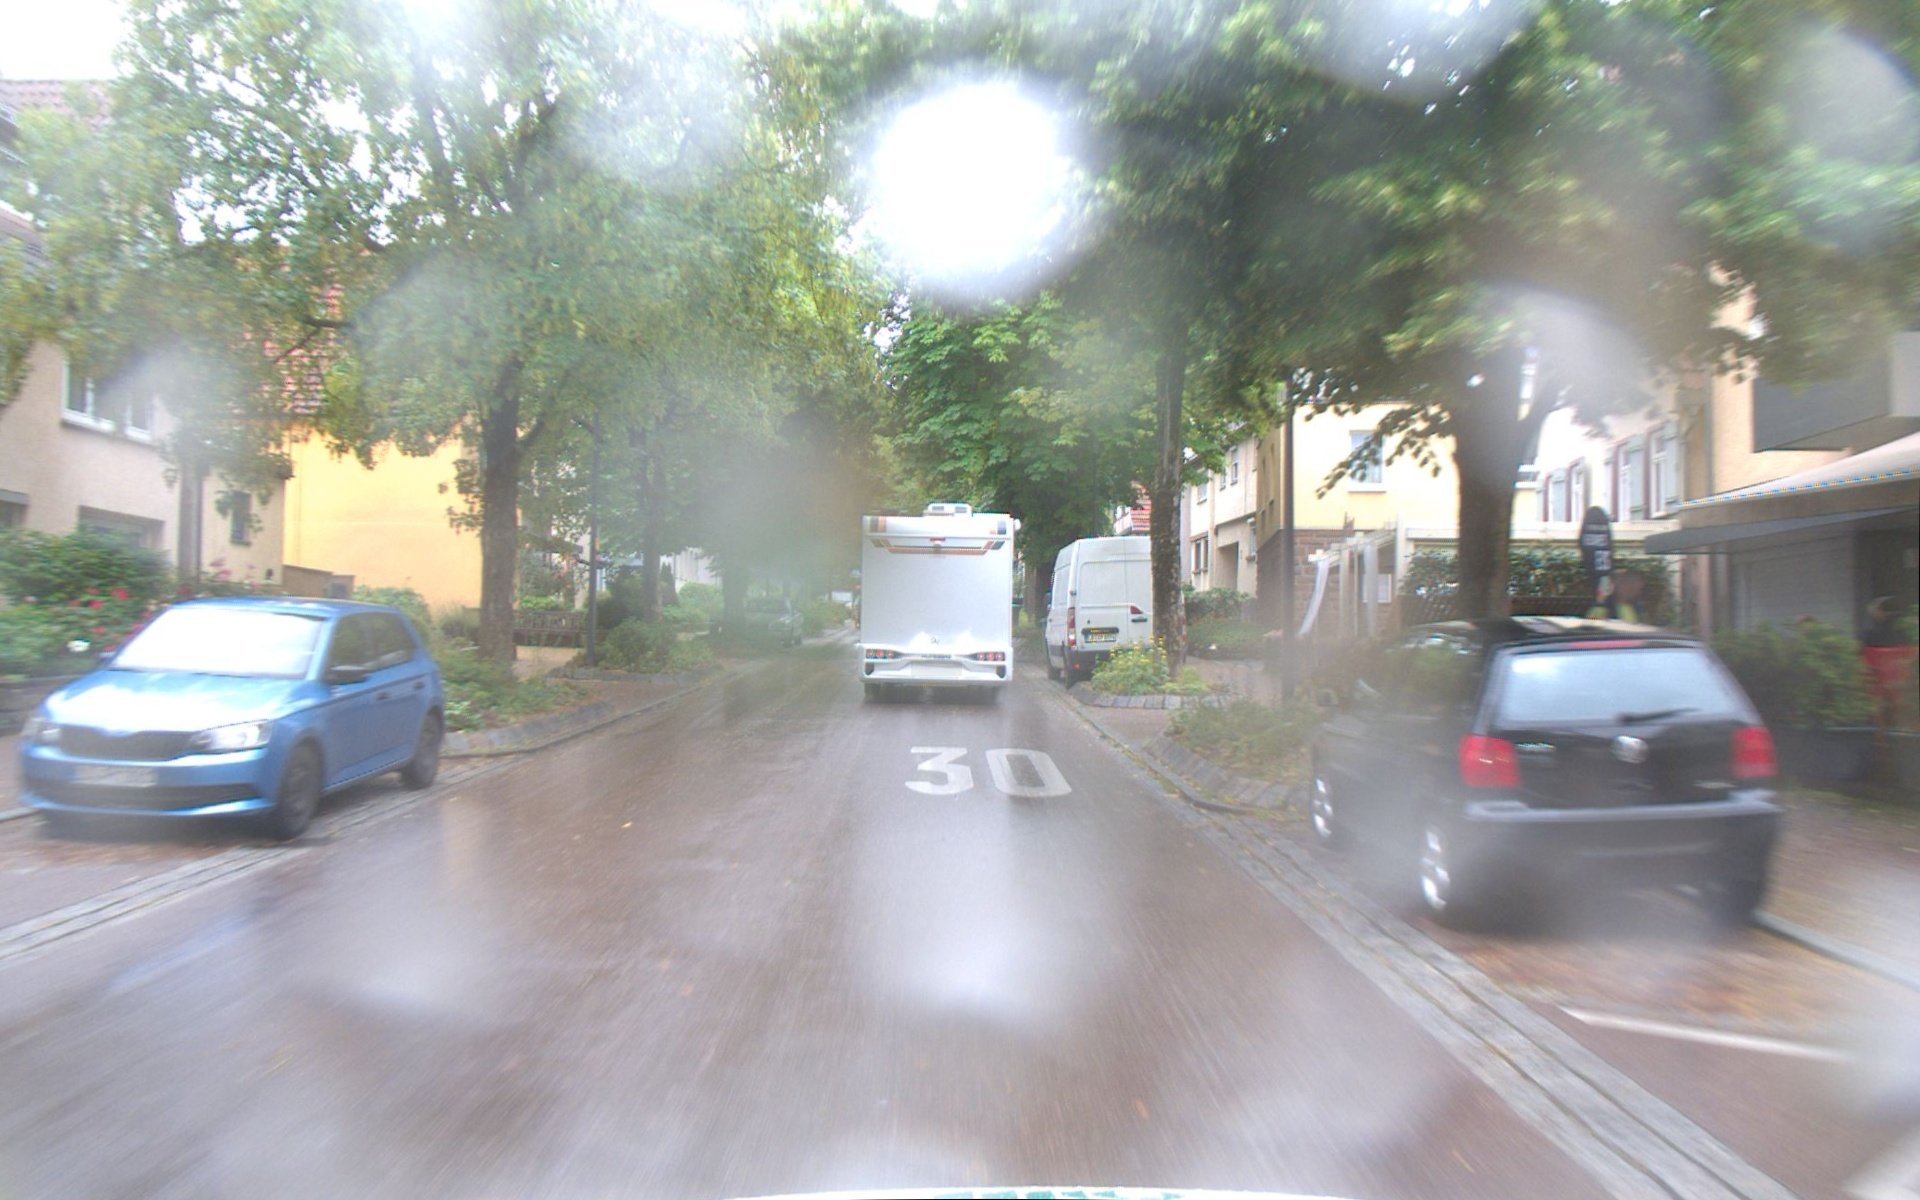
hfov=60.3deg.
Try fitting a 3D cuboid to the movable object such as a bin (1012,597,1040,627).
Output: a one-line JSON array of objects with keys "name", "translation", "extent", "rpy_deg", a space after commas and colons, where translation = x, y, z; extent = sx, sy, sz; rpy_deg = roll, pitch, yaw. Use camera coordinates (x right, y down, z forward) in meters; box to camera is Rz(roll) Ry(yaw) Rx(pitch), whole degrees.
[{"name": "movable object such as a bin", "translation": [2.911, 0.519, 73.098], "extent": [1.199, 1.338, 1.134], "rpy_deg": [0, 0, 1]}]

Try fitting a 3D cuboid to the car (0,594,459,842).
[{"name": "car", "translation": [-4.956, 0.692, 11.590], "extent": [1.713, 1.420, 3.795], "rpy_deg": [1, 0, 0]}]

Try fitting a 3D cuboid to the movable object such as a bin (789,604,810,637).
[{"name": "movable object such as a bin", "translation": [-5.463, 0.685, 56.213], "extent": [0.582, 1.081, 0.545], "rpy_deg": [3, 0, 3]}]

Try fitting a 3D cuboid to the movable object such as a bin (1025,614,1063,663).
[{"name": "movable object such as a bin", "translation": [1.923, 0.888, 37.994], "extent": [0.781, 1.094, 0.878], "rpy_deg": [1, 0, -1]}]

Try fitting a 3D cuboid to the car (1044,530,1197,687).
[{"name": "car", "translation": [2.751, 0.142, 29.638], "extent": [2.097, 2.503, 5.434], "rpy_deg": [1, 0, -1]}]

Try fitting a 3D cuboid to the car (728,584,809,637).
[{"name": "car", "translation": [-5.572, 0.294, 48.569], "extent": [1.736, 1.413, 4.546], "rpy_deg": [2, 0, 0]}]

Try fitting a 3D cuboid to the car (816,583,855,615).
[{"name": "car", "translation": [-6.512, -0.072, 86.784], "extent": [1.613, 1.560, 3.866], "rpy_deg": [2, 0, 1]}]

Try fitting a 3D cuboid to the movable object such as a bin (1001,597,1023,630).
[{"name": "movable object such as a bin", "translation": [1.759, 0.458, 56.426], "extent": [0.674, 1.101, 0.540], "rpy_deg": [1, 0, -5]}]

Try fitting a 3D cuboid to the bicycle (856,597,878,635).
[{"name": "bicycle", "translation": [-3.089, 0.530, 55.012], "extent": [0.614, 1.230, 1.980], "rpy_deg": [1, 0, -1]}]

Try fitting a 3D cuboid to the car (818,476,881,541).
[{"name": "car", "translation": [-3.867, -3.196, 58.409], "extent": [1.953, 2.049, 3.999], "rpy_deg": [1, 0, -1]}]

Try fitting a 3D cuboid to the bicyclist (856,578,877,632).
[{"name": "bicyclist", "translation": [-3.085, 0.161, 54.738], "extent": [0.614, 1.761, 0.880], "rpy_deg": [1, 0, -1]}]

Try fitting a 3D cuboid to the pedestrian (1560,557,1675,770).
[{"name": "pedestrian", "translation": [5.569, 0.525, 14.013], "extent": [0.753, 1.762, 0.491], "rpy_deg": [1, 0, -13]}]

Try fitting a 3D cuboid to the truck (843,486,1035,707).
[{"name": "truck", "translation": [-0.327, -0.045, 26.282], "extent": [2.639, 3.038, 6.235], "rpy_deg": [1, 0, -1]}]

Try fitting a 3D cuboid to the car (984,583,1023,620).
[{"name": "car", "translation": [2.248, 0.057, 86.500], "extent": [1.875, 1.823, 4.487], "rpy_deg": [1, 0, -1]}]

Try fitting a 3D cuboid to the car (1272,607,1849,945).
[{"name": "car", "translation": [3.017, 0.789, 9.204], "extent": [1.772, 1.435, 3.782], "rpy_deg": [1, 0, -1]}]
